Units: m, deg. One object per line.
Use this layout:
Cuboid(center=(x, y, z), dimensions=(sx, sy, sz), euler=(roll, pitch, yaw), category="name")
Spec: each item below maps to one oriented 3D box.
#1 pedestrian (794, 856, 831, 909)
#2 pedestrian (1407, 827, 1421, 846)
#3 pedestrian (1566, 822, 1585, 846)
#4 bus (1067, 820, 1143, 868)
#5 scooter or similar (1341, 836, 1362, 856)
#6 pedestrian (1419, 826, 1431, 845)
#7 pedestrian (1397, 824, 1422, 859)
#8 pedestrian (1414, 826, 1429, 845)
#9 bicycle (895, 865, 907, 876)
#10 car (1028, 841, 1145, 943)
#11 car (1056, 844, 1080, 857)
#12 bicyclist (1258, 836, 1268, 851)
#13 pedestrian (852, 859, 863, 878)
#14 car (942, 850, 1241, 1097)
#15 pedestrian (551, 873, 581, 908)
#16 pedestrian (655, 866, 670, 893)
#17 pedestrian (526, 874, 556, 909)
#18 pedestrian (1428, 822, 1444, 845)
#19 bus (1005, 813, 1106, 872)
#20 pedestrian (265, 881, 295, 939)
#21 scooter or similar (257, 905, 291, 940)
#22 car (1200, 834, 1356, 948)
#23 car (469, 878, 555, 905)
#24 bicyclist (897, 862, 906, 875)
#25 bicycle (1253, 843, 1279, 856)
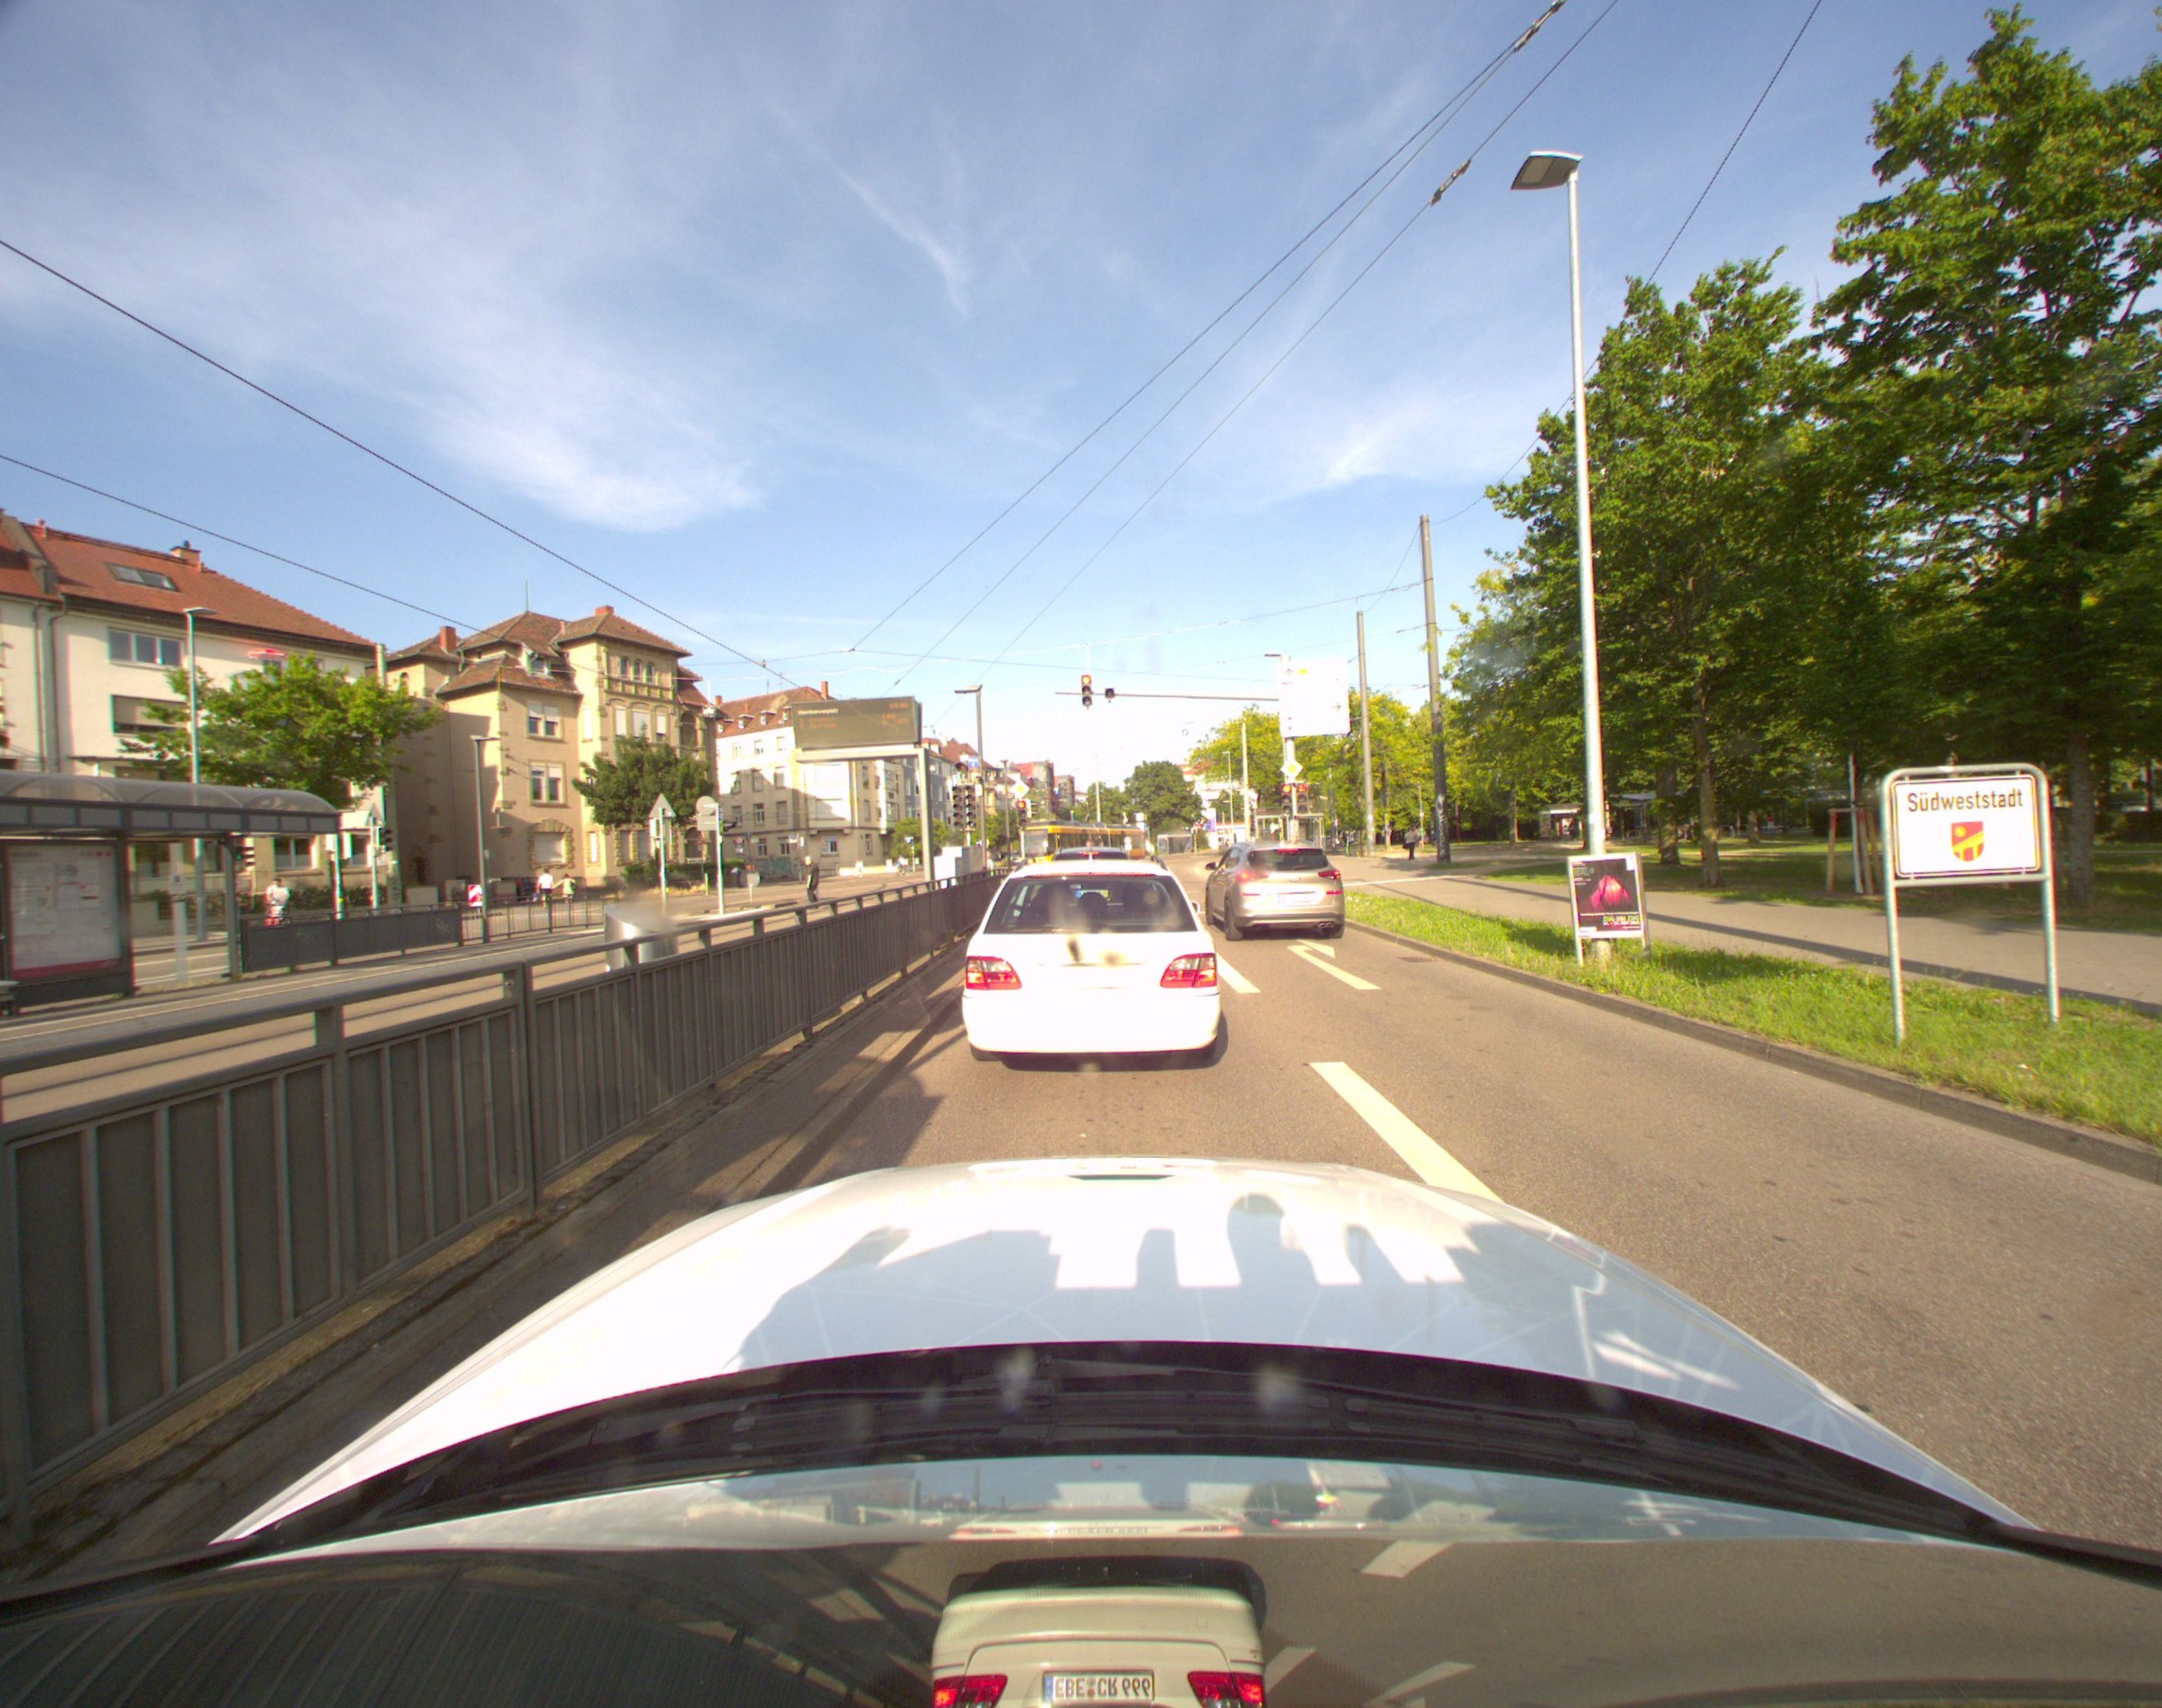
Cuboid(center=(-8.659, 0.922, 26.261), dimensions=(0.798, 1.645, 0.748), euler=(-3, 0, -43), category="pedestrian")
Cuboid(center=(26.838, -1.398, 65.660), dimensions=(0.820, 1.487, 0.692), euler=(-3, 0, -40), category="pedestrian")
Cuboid(center=(35.152, -1.438, 57.881), dimensions=(0.831, 1.636, 0.804), euler=(-3, 0, 7), category="pedestrian")
Cuboid(center=(2.289, -0.748, 68.535), dimensions=(3.084, 3.606, 12.647), euler=(-1, 0, 17), category="bus")
Cuboid(center=(15.826, -0.442, 47.693), dimensions=(0.421, 1.117, 1.322), euler=(-3, 0, -18), category="scooter or similar")
Cuboid(center=(27.357, -1.460, 64.748), dimensions=(0.805, 1.487, 0.705), euler=(-3, 0, 26), category="pedestrian")
Cuboid(center=(15.821, -0.595, 39.226), dimensions=(0.758, 1.636, 0.799), euler=(-3, 0, -38), category="pedestrian")
Cuboid(center=(27.682, -1.484, 66.255), dimensions=(0.813, 1.487, 0.698), euler=(-3, 0, -10), category="pedestrian")
Cuboid(center=(-14.762, 1.356, 66.840), dimensions=(0.524, 0.834, 1.687), euler=(-3, 0, 1), category="bicycle")
Cuboid(center=(0.142, 0.609, 15.119), dimensions=(1.878, 1.651, 3.649), euler=(-1, 0, 1), category="car")
Cuboid(center=(-2.201, -0.583, 136.992), dimensions=(3.974, 2.014, 2.000), euler=(-1, 0, 0), category="car")
Cuboid(center=(18.646, -1.068, 83.396), dimensions=(0.855, 1.481, 0.791), euler=(-3, 0, 10), category="bicyclist")
Cuboid(center=(-18.357, 1.178, 66.928), dimensions=(0.627, 1.541, 0.711), euler=(-3, 0, 1), category="pedestrian")
Cuboid(center=(0.111, 0.719, 6.781), dimensions=(1.789, 1.470, 3.649), euler=(-1, 0, 1), category="car")
Cuboid(center=(-23.997, 1.678, 37.922), dimensions=(0.822, 1.552, 0.786), euler=(-3, 0, 23), category="pedestrian")
Cuboid(center=(-23.848, 1.447, 46.449), dimensions=(0.434, 1.500, 0.551), euler=(-3, 0, 16), category="pedestrian")
Cuboid(center=(-25.063, 1.730, 37.803), dimensions=(0.822, 1.552, 0.786), euler=(-3, 0, 23), category="pedestrian")
Cuboid(center=(28.699, -1.640, 65.883), dimensions=(0.798, 1.785, 0.838), euler=(-3, 0, -3), category="pedestrian")
Cuboid(center=(-1.429, -0.689, 56.550), dimensions=(3.084, 3.606, 12.429), euler=(-1, 0, 17), category="bus")
Cuboid(center=(-25.299, 1.753, 25.730), dimensions=(0.552, 1.746, 0.754), euler=(-3, 0, -39), category="pedestrian")
Cuboid(center=(-24.761, 2.086, 24.998), dimensions=(0.560, 0.988, 1.012), euler=(-3, 0, -35), category="scooter or similar")
Cuboid(center=(3.293, 0.559, 14.338), dimensions=(1.878, 1.651, 3.649), euler=(-3, 0, 1), category="car")
Cuboid(center=(-29.702, 1.945, 42.518), dimensions=(4.066, 1.310, 1.774), euler=(-1, 0, 23), category="car")
Cuboid(center=(-14.767, 1.176, 66.867), dimensions=(0.511, 1.044, 0.680), euler=(-3, 0, 1), category="bicyclist")
Cuboid(center=(18.961, -0.500, 83.360), dimensions=(2.468, 1.213, 0.809), euler=(-3, 0, 9), category="bicycle")
